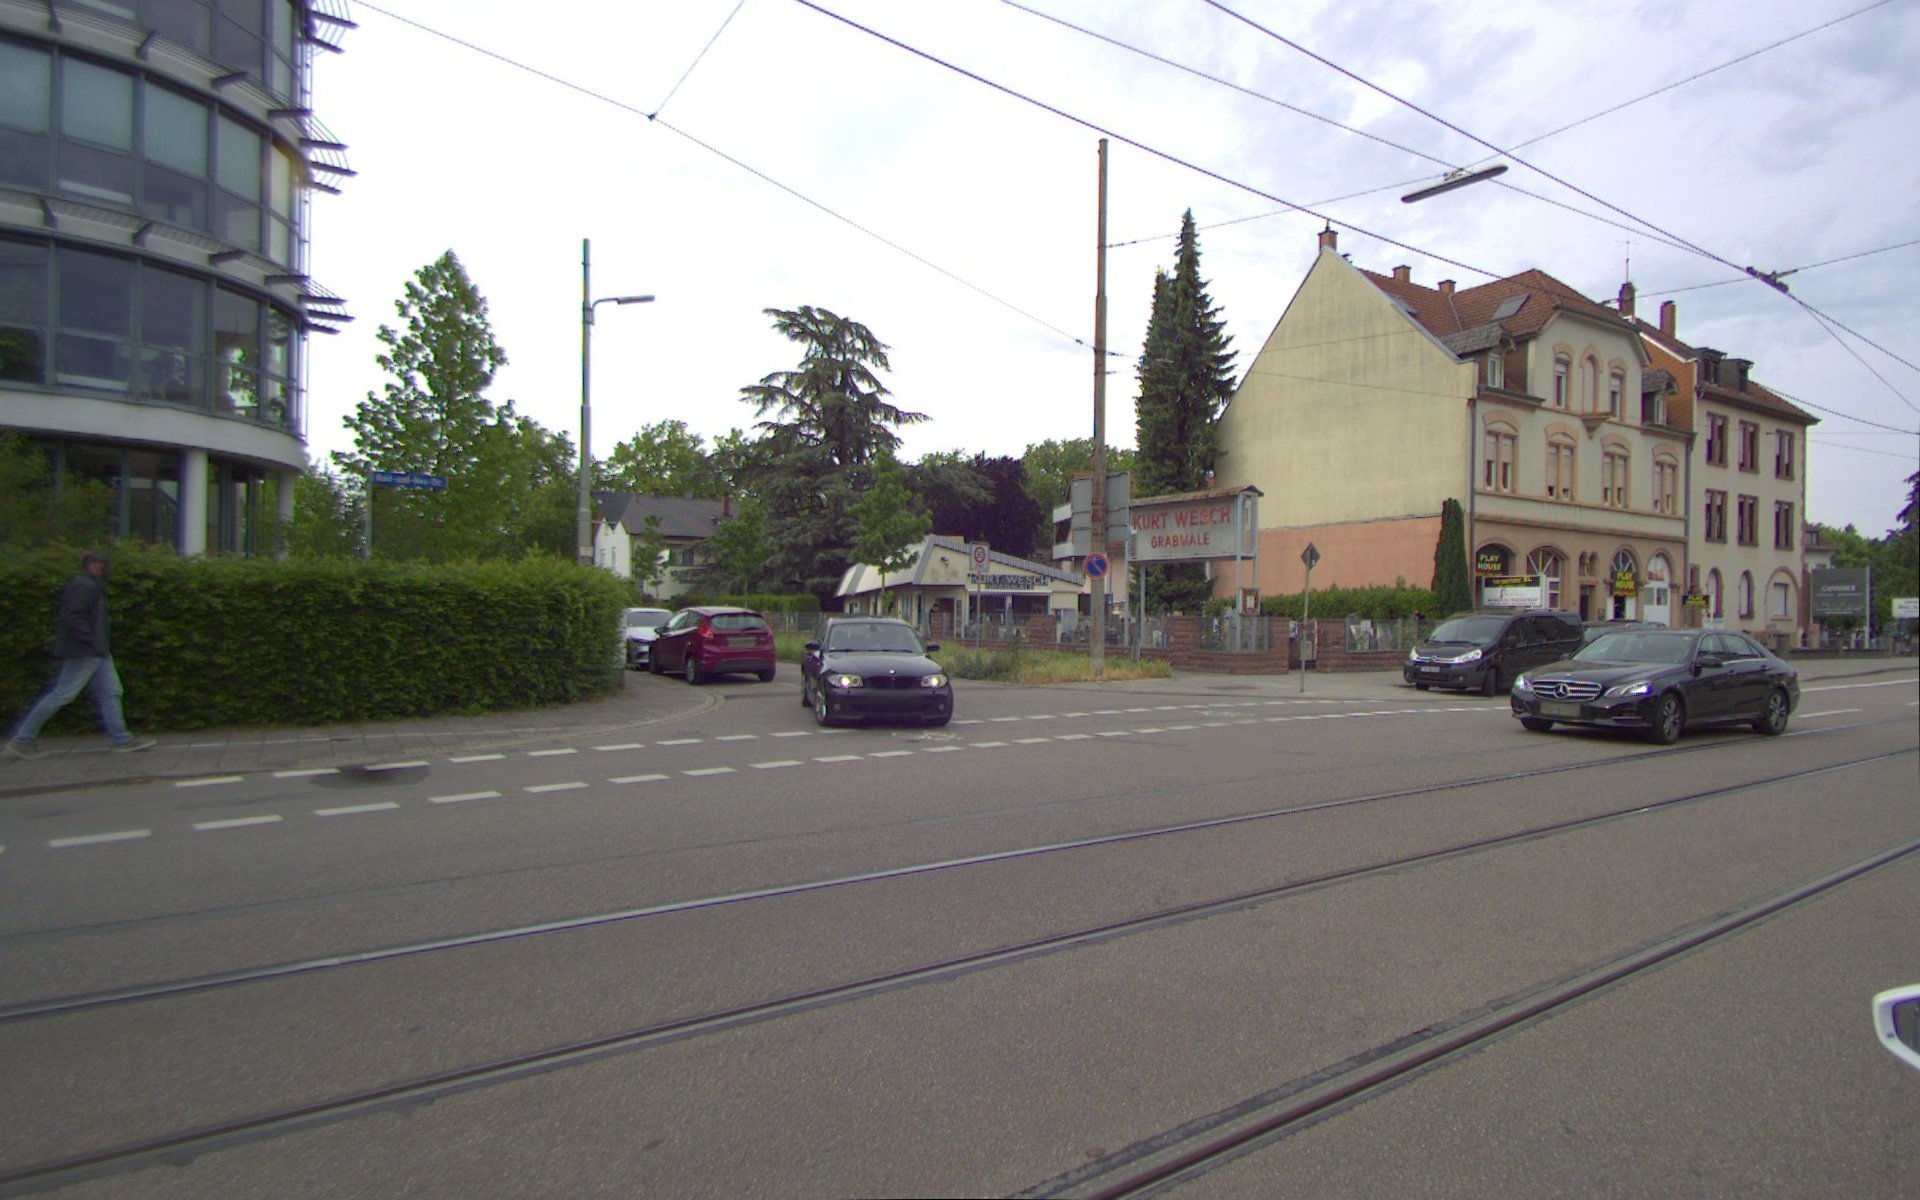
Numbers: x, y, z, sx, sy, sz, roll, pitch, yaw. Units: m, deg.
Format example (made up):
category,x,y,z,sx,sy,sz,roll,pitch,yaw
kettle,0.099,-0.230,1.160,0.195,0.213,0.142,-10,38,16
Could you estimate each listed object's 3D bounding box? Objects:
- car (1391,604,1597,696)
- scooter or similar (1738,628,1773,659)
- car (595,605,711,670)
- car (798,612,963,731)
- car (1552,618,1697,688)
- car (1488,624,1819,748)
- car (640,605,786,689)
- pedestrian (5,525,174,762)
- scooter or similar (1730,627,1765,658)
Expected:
category,x,y,z,sx,sy,sz,roll,pitch,yaw
car,12.451,1.132,23.335,4.942,1.912,1.981,2,0,-32
scooter or similar,32.135,1.756,40.587,1.032,1.204,0.318,2,0,25
car,-7.512,0.879,24.316,1.811,1.439,3.968,2,-2,-30
car,-1.259,0.899,14.172,1.771,1.406,3.923,1,-1,-13
car,18.522,1.449,27.970,4.148,1.740,1.834,2,0,-33
car,9.736,1.087,14.015,4.828,1.446,1.938,1,-1,-30
car,-5.071,0.864,20.325,1.749,1.437,3.687,-1,2,-33
pedestrian,-7.892,0.385,9.159,0.978,2.040,0.707,2,0,-28
scooter or similar,32.274,1.745,41.163,1.032,1.204,0.318,2,0,25
